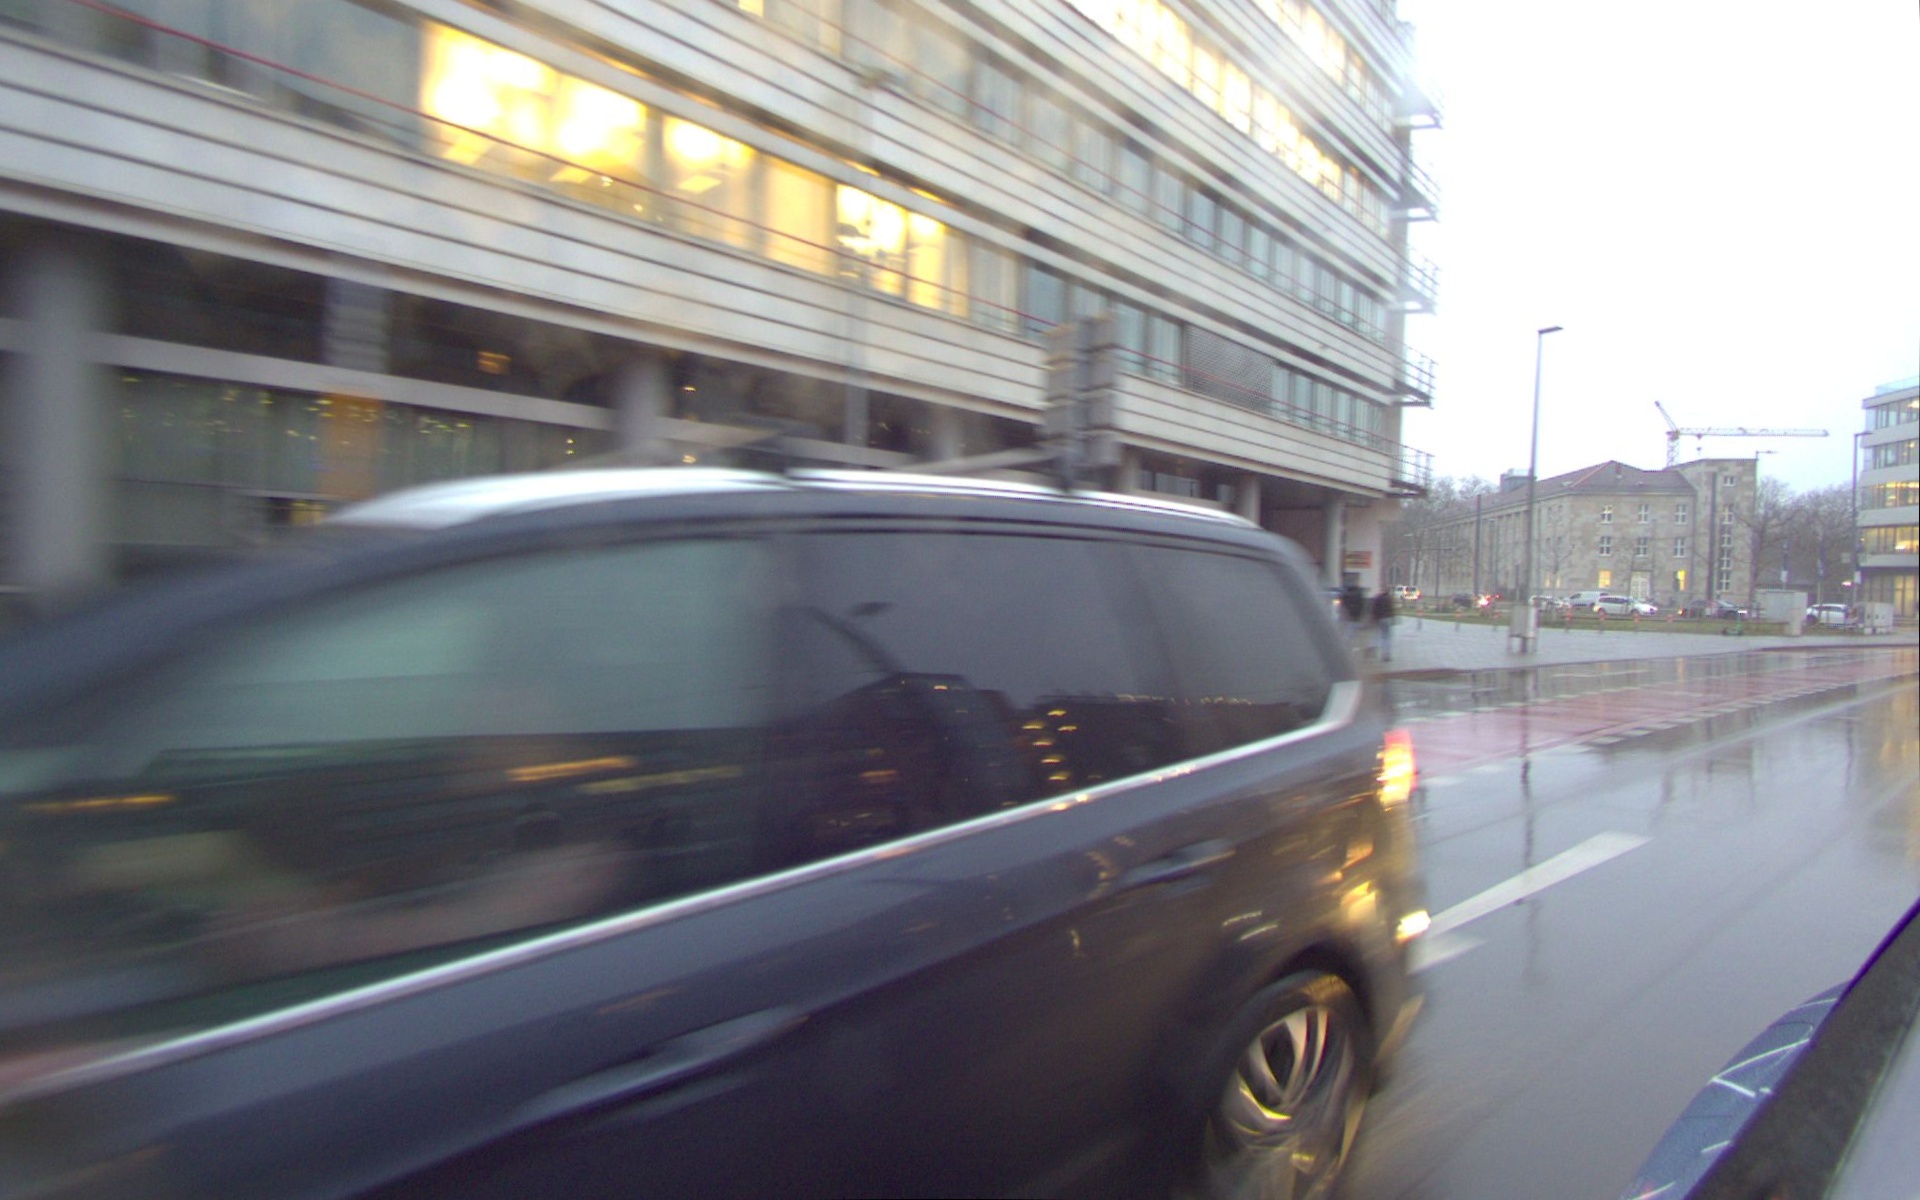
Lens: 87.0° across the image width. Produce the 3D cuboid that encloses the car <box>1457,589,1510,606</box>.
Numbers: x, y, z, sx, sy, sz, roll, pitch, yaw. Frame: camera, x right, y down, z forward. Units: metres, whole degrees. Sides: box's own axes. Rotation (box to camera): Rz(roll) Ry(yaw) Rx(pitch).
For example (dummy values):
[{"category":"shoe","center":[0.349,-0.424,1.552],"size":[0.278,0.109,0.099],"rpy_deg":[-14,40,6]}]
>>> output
[{"category":"car","center":[49.131,-0.254,95.078],"size":[1.959,1.523,4.012],"rpy_deg":[1,1,-26]}]

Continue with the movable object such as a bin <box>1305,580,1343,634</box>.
[{"category":"movable object such as a bin","center":[10.000,0.184,27.783],"size":[0.665,1.446,0.827],"rpy_deg":[2,1,44]}]

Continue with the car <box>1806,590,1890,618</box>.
[{"category":"car","center":[60.432,0.264,68.936],"size":[1.744,1.730,3.931],"rpy_deg":[1,1,-28]}]

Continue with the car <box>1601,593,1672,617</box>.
[{"category":"car","center":[54.493,0.395,81.595],"size":[1.959,1.782,4.385],"rpy_deg":[1,1,-26]}]

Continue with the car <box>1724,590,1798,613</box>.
[{"category":"car","center":[57.992,0.077,73.349],"size":[1.743,1.556,3.774],"rpy_deg":[1,1,-26]}]

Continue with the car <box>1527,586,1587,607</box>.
[{"category":"car","center":[51.844,-0.294,87.942],"size":[1.959,1.693,4.012],"rpy_deg":[1,1,-26]}]

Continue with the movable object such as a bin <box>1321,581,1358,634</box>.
[{"category":"movable object such as a bin","center":[10.639,0.202,28.390],"size":[0.665,1.446,0.827],"rpy_deg":[2,1,44]}]

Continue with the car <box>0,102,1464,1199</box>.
[{"category":"car","center":[-1.142,0.483,1.816],"size":[4.585,1.834,1.888],"rpy_deg":[0,0,-38]}]

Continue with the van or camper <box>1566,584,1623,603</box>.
[{"category":"van or camper","center":[61.652,-0.610,98.373],"size":[1.958,1.874,4.385],"rpy_deg":[1,-1,-21]}]

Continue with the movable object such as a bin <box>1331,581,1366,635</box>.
[{"category":"movable object such as a bin","center":[11.189,0.221,29.143],"size":[0.665,1.495,0.827],"rpy_deg":[2,1,44]}]

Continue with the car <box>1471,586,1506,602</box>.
[{"category":"car","center":[57.990,-0.692,111.088],"size":[1.567,1.702,3.274],"rpy_deg":[1,1,-11]}]

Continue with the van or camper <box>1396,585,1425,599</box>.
[{"category":"van or camper","center":[57.144,-1.071,128.480],"size":[1.774,1.720,3.840],"rpy_deg":[1,1,-3]}]

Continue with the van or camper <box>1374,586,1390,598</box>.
[{"category":"van or camper","center":[61.660,-1.180,148.003],"size":[1.785,1.720,3.815],"rpy_deg":[1,1,18]}]

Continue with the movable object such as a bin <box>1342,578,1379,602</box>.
[{"category":"movable object such as a bin","center":[32.107,-0.810,81.179],"size":[2.661,1.766,2.535],"rpy_deg":[2,1,21]}]

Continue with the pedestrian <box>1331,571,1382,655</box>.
[{"category":"pedestrian","center":[8.455,0.271,21.584],"size":[0.650,1.723,0.871],"rpy_deg":[4,3,44]}]

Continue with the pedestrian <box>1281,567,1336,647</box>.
[{"category":"pedestrian","center":[7.907,0.152,22.938],"size":[0.746,1.722,0.954],"rpy_deg":[6,4,44]}]

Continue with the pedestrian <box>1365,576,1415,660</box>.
[{"category":"pedestrian","center":[9.009,0.360,21.182],"size":[0.615,1.689,0.871],"rpy_deg":[4,3,44]}]
